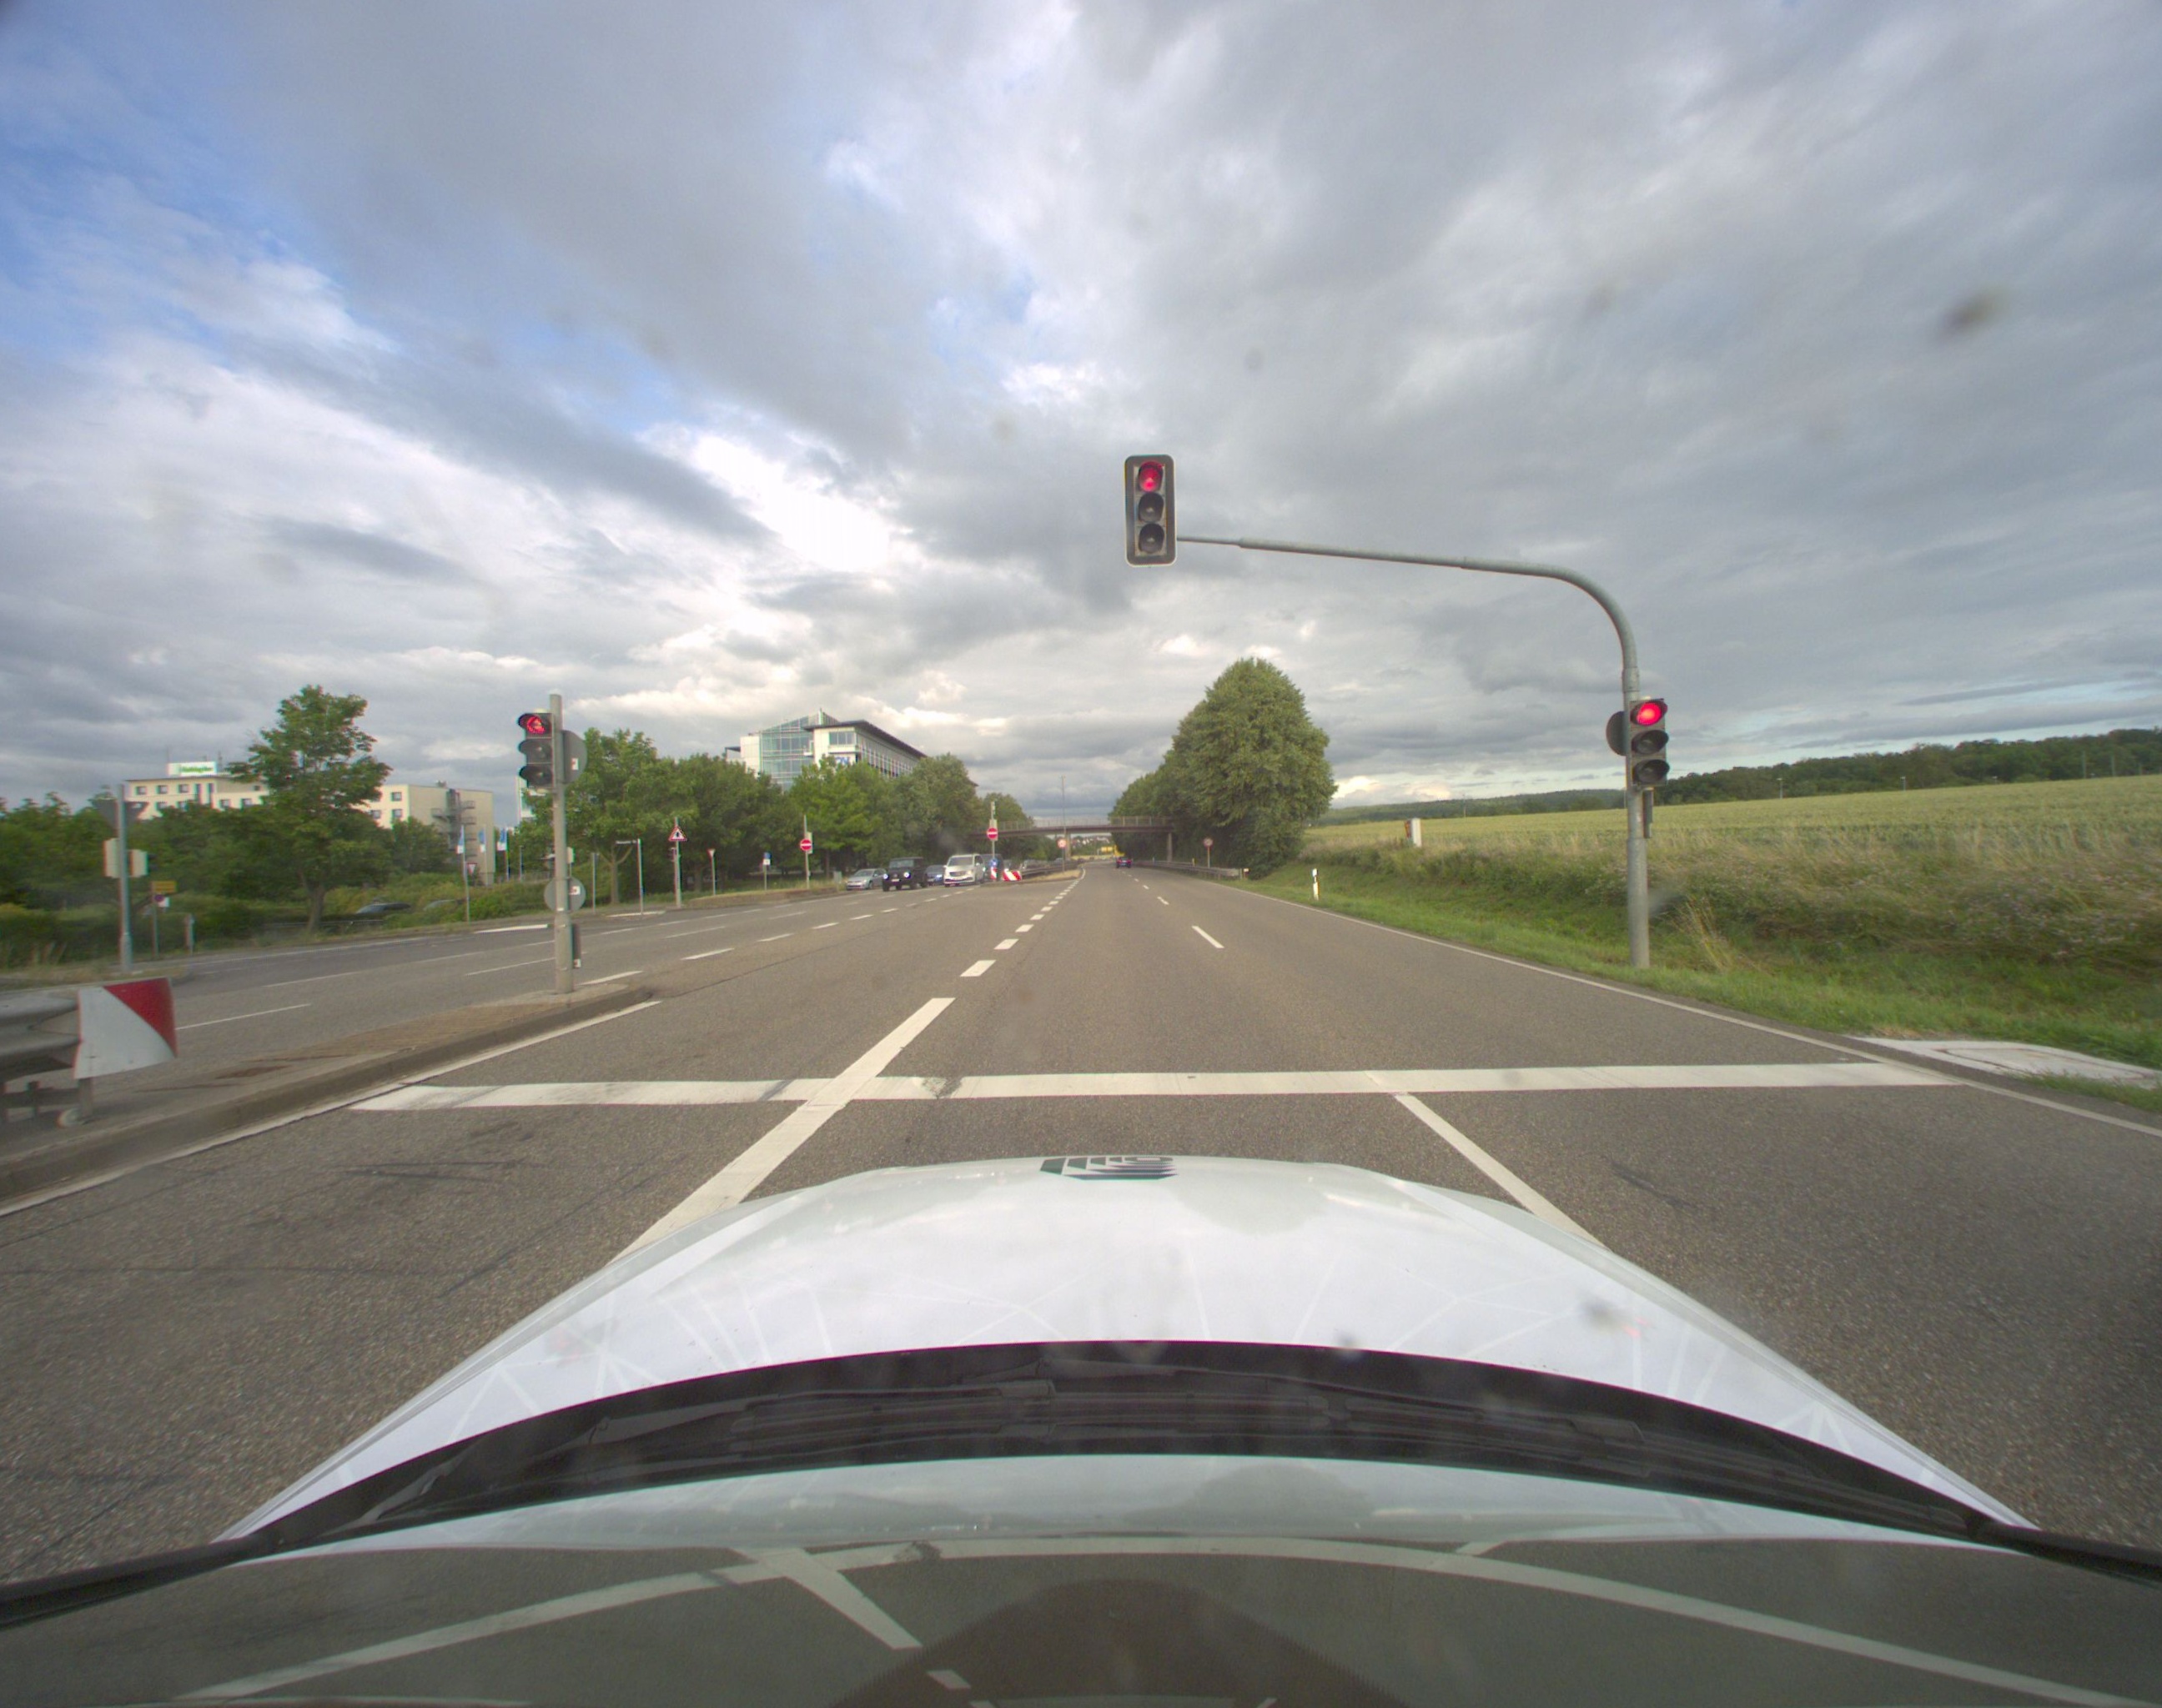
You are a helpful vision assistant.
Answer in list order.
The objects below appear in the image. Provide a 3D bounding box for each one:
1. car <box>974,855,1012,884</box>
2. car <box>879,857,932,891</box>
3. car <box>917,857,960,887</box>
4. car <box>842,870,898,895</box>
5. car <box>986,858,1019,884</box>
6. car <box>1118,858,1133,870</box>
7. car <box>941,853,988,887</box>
[{"bbox_3d":[-6.198,1.072,57.890,2.076,2.014,5.216,0,-1,0],"label":"car"},{"bbox_3d":[-10.731,1.188,50.142,2.076,2.014,5.216,0,-1,0],"label":"car"},{"bbox_3d":[-10.039,1.252,57.631,2.076,2.014,5.216,0,-1,0],"label":"car"},{"bbox_3d":[-14.593,1.946,56.616,1.567,1.342,3.773,-5,0,26],"label":"car"},{"bbox_3d":[-6.286,1.307,65.460,2.076,2.014,5.216,0,-1,0],"label":"car"},{"bbox_3d":[5.754,1.344,106.500,1.872,1.552,4.002,0,-1,2],"label":"car"},{"bbox_3d":[-7.111,0.965,50.171,2.076,2.014,5.216,0,-1,0],"label":"car"}]
